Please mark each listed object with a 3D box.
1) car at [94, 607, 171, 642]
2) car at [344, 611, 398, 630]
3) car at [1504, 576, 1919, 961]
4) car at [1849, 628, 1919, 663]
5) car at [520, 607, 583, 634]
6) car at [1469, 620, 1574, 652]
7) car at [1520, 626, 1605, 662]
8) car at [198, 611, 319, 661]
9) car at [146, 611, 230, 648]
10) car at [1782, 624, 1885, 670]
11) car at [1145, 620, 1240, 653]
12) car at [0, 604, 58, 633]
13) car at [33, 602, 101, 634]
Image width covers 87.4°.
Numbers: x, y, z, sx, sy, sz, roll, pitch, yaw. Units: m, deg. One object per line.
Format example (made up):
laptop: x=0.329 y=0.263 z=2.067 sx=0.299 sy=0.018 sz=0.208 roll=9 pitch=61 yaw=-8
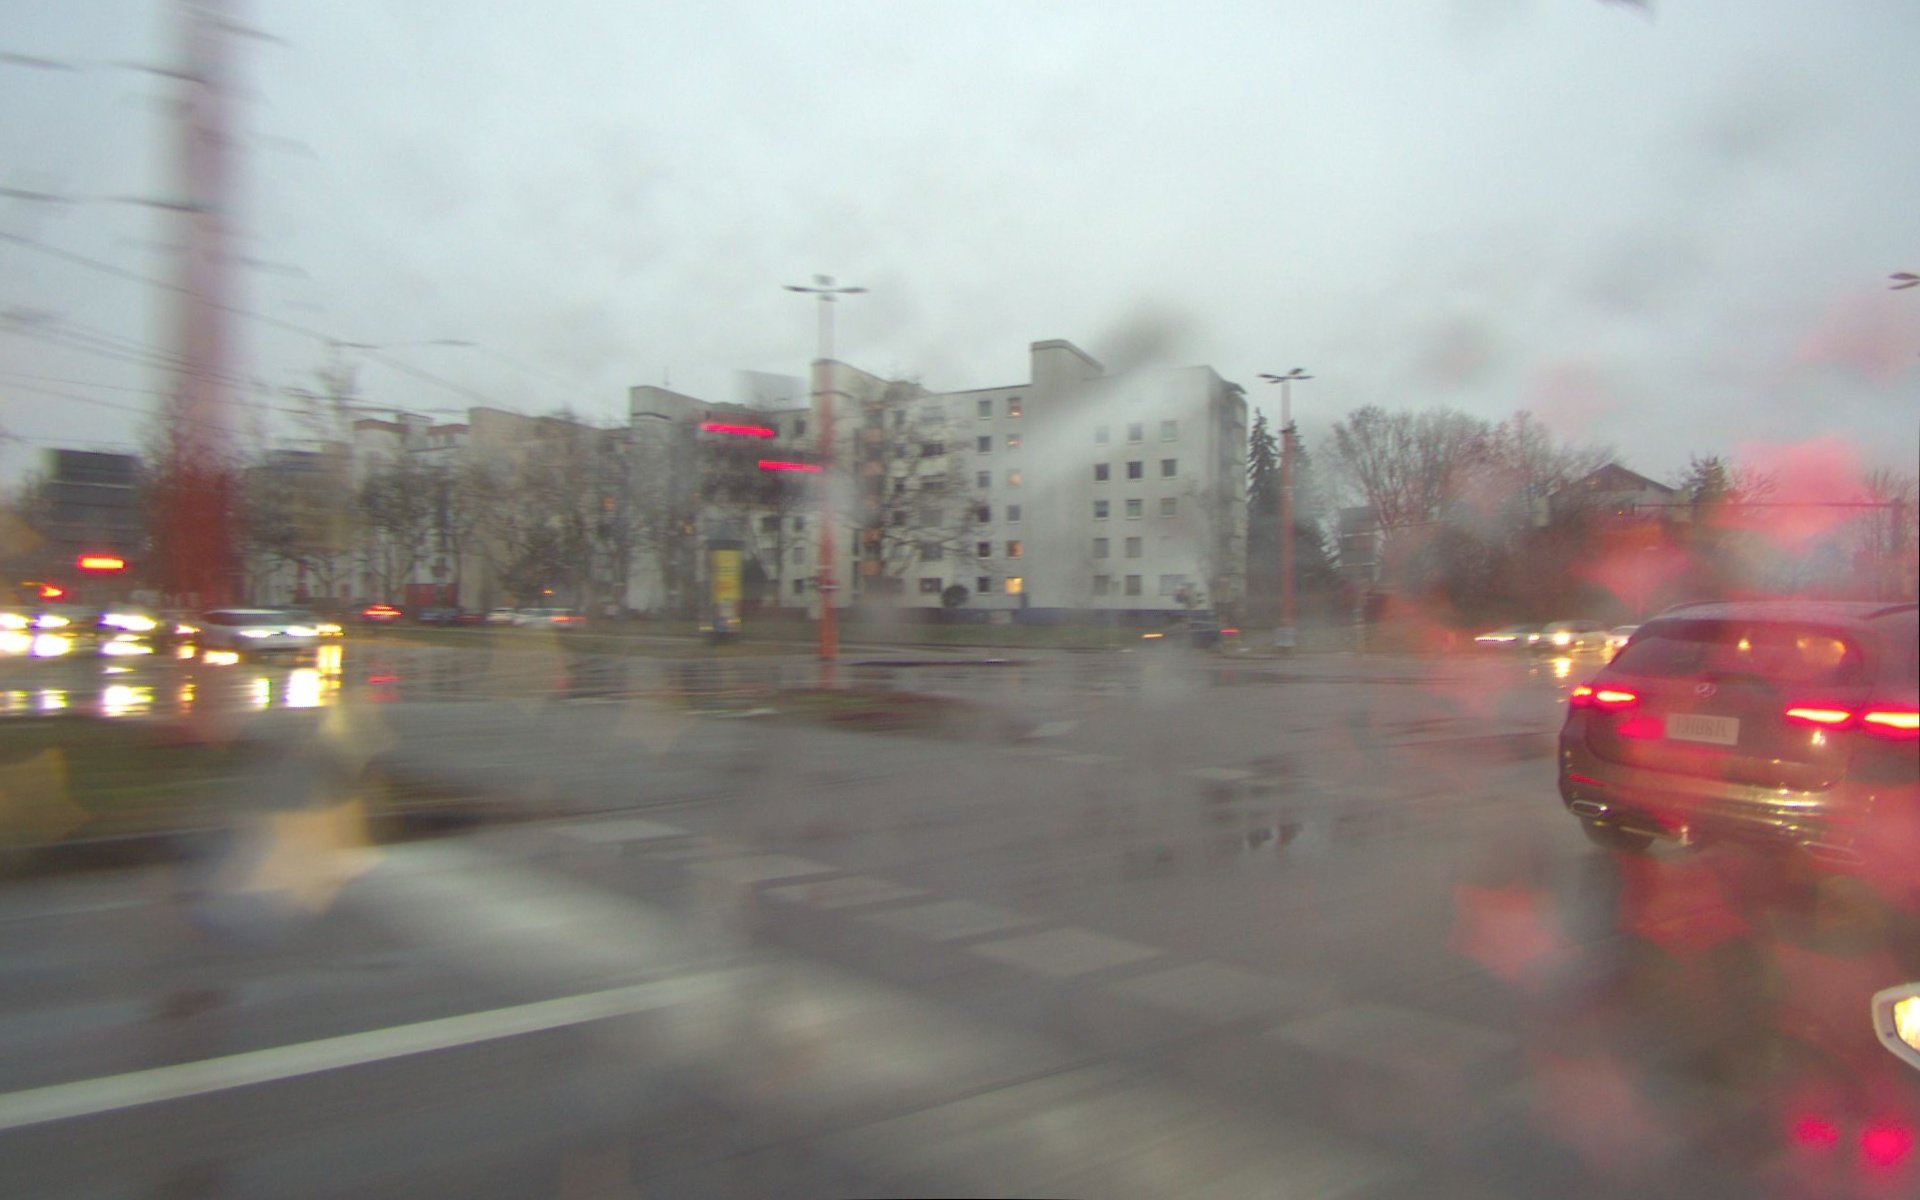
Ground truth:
car: x=-38.597 y=1.137 z=46.831 sx=3.932 sy=1.565 sz=1.708 roll=0 pitch=-1 yaw=34
car: x=-45.488 y=1.552 z=77.581 sx=3.927 sy=1.405 sz=1.774 roll=0 pitch=-1 yaw=28
car: x=5.575 y=0.780 z=6.259 sx=4.413 sy=1.670 sz=1.814 roll=1 pitch=-1 yaw=-30
car: x=43.975 y=2.123 z=47.434 sx=4.473 sy=1.553 sz=1.761 roll=1 pitch=-1 yaw=-31
car: x=-26.140 y=1.317 z=64.288 sx=3.926 sy=1.661 sz=1.535 roll=0 pitch=-1 yaw=27
car: x=29.070 y=1.857 z=52.069 sx=4.516 sy=1.550 sz=1.996 roll=1 pitch=-1 yaw=-10
car: x=27.210 y=1.949 z=45.343 sx=3.970 sy=1.515 sz=1.611 roll=1 pitch=-1 yaw=-31
car: x=-23.335 y=1.151 z=33.383 sx=4.366 sy=1.565 sz=1.846 roll=0 pitch=-1 yaw=34
car: x=-33.352 y=1.252 z=43.378 sx=3.932 sy=1.565 sz=1.708 roll=0 pitch=-1 yaw=34
car: x=32.845 y=1.726 z=37.738 sx=4.034 sy=1.603 sz=1.847 roll=1 pitch=-1 yaw=-32
car: x=11.441 y=1.796 z=49.675 sx=4.393 sy=1.550 sz=2.001 roll=0 pitch=-1 yaw=8
car: x=-51.973 y=1.015 z=55.911 sx=3.932 sy=1.565 sz=1.708 roll=0 pitch=-1 yaw=34
car: x=-46.263 y=0.928 z=52.025 sx=3.932 sy=1.565 sz=1.708 roll=0 pitch=-1 yaw=34
